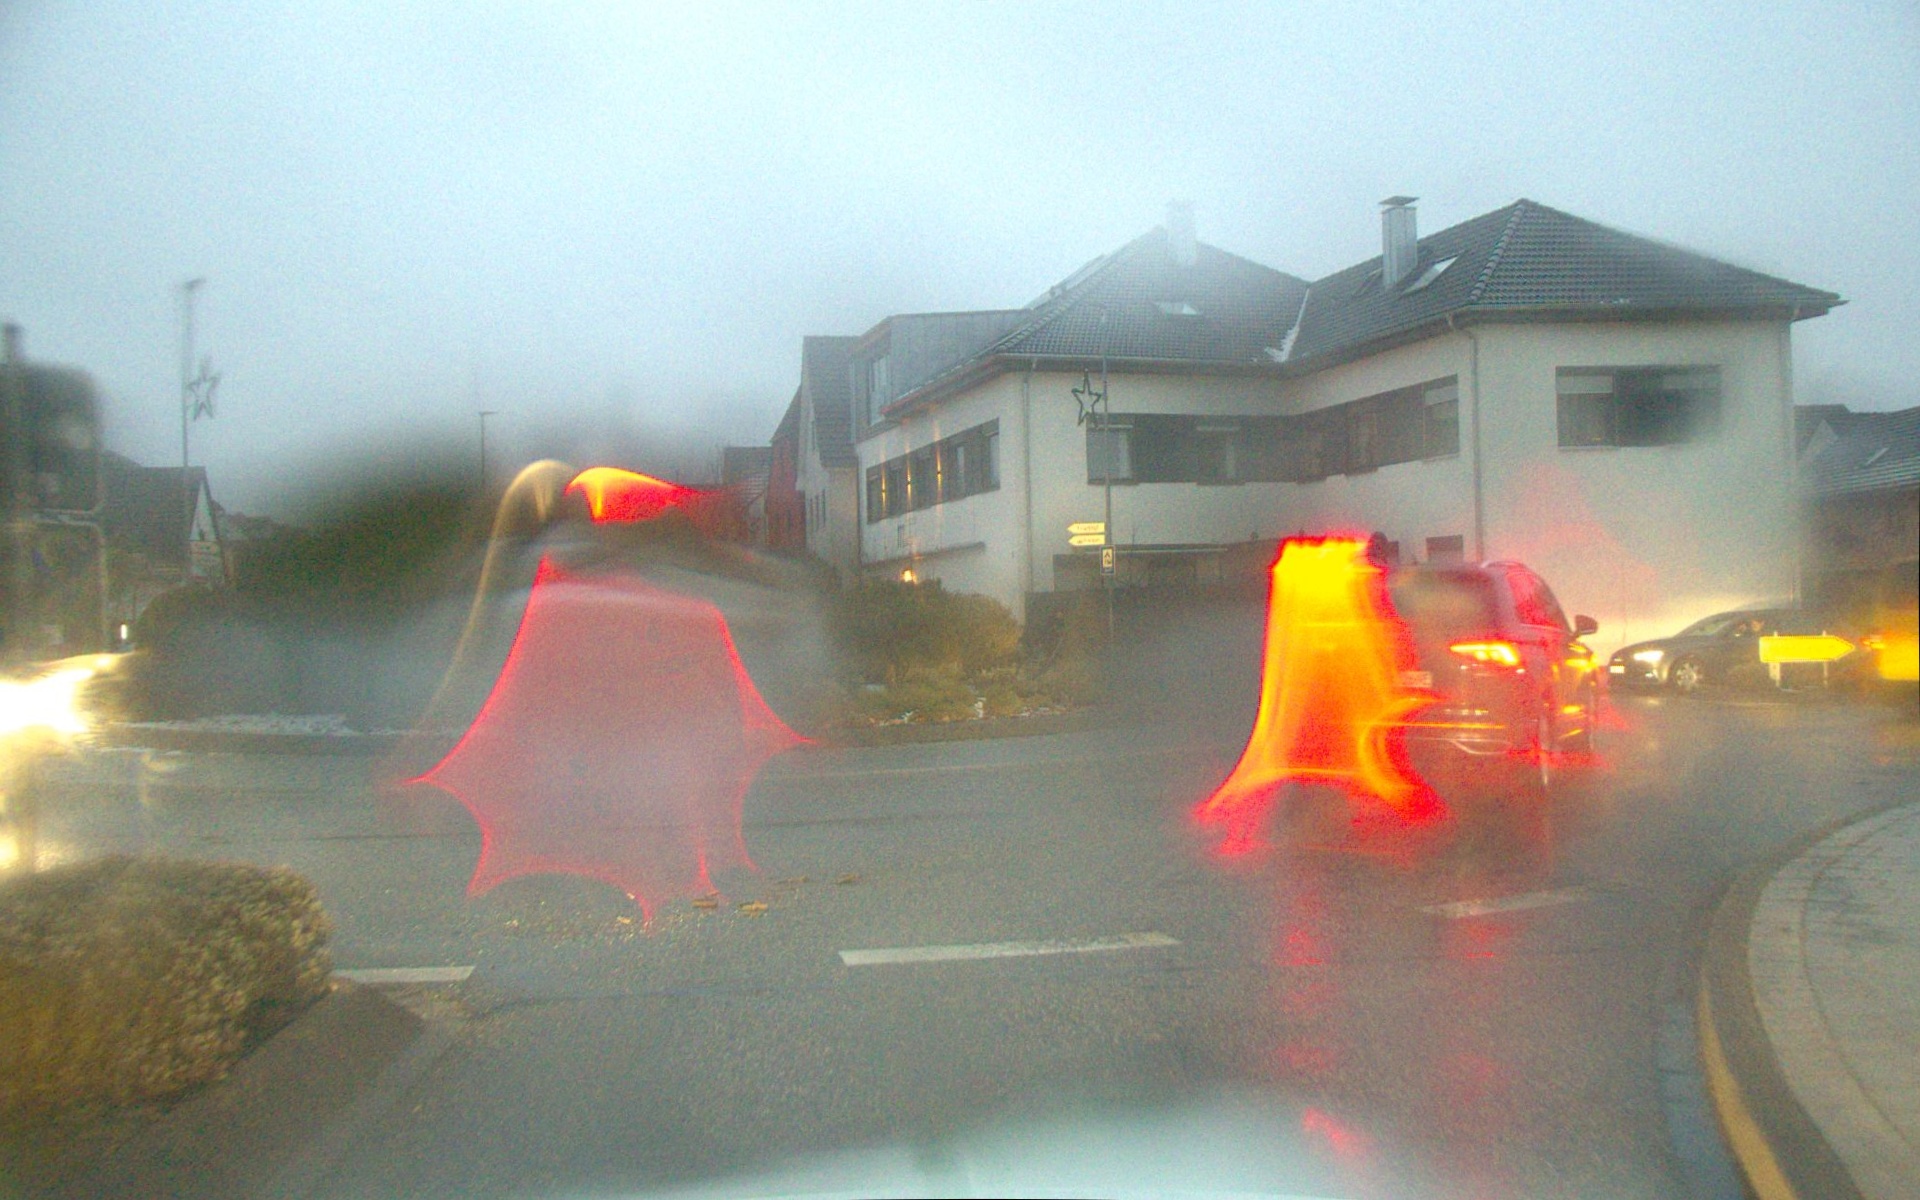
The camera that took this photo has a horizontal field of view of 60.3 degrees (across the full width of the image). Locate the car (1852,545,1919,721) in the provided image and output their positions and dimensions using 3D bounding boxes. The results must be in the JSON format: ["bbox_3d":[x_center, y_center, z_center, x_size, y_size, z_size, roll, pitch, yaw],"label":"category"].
[{"bbox_3d":[13.414,0.353,20.215,4.823,2.049,1.984,-1,0,-26],"label":"car"}]

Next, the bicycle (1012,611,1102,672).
[{"bbox_3d":[2.147,0.931,36.729,1.898,1.318,0.551,-1,1,25],"label":"bicycle"}]

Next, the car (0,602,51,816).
[{"bbox_3d":[-8.494,0.809,11.863,3.926,1.446,1.712,-2,0,31],"label":"car"}]

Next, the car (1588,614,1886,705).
[{"bbox_3d":[12.980,1.006,27.759,4.139,1.408,1.848,-1,-3,-6],"label":"car"}]

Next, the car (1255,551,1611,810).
[{"bbox_3d":[3.772,0.479,12.689,1.878,1.643,3.946,-1,1,27],"label":"car"}]

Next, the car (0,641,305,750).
[{"bbox_3d":[-13.620,1.576,27.899,4.398,1.639,1.898,-1,0,-6],"label":"car"}]

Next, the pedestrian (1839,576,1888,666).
[{"bbox_3d":[18.854,0.431,34.520,0.700,1.864,0.638,-1,1,6],"label":"pedestrian"}]

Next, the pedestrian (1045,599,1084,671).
[{"bbox_3d":[2.344,0.781,37.199,0.675,1.592,0.610,-1,0,25],"label":"pedestrian"}]
